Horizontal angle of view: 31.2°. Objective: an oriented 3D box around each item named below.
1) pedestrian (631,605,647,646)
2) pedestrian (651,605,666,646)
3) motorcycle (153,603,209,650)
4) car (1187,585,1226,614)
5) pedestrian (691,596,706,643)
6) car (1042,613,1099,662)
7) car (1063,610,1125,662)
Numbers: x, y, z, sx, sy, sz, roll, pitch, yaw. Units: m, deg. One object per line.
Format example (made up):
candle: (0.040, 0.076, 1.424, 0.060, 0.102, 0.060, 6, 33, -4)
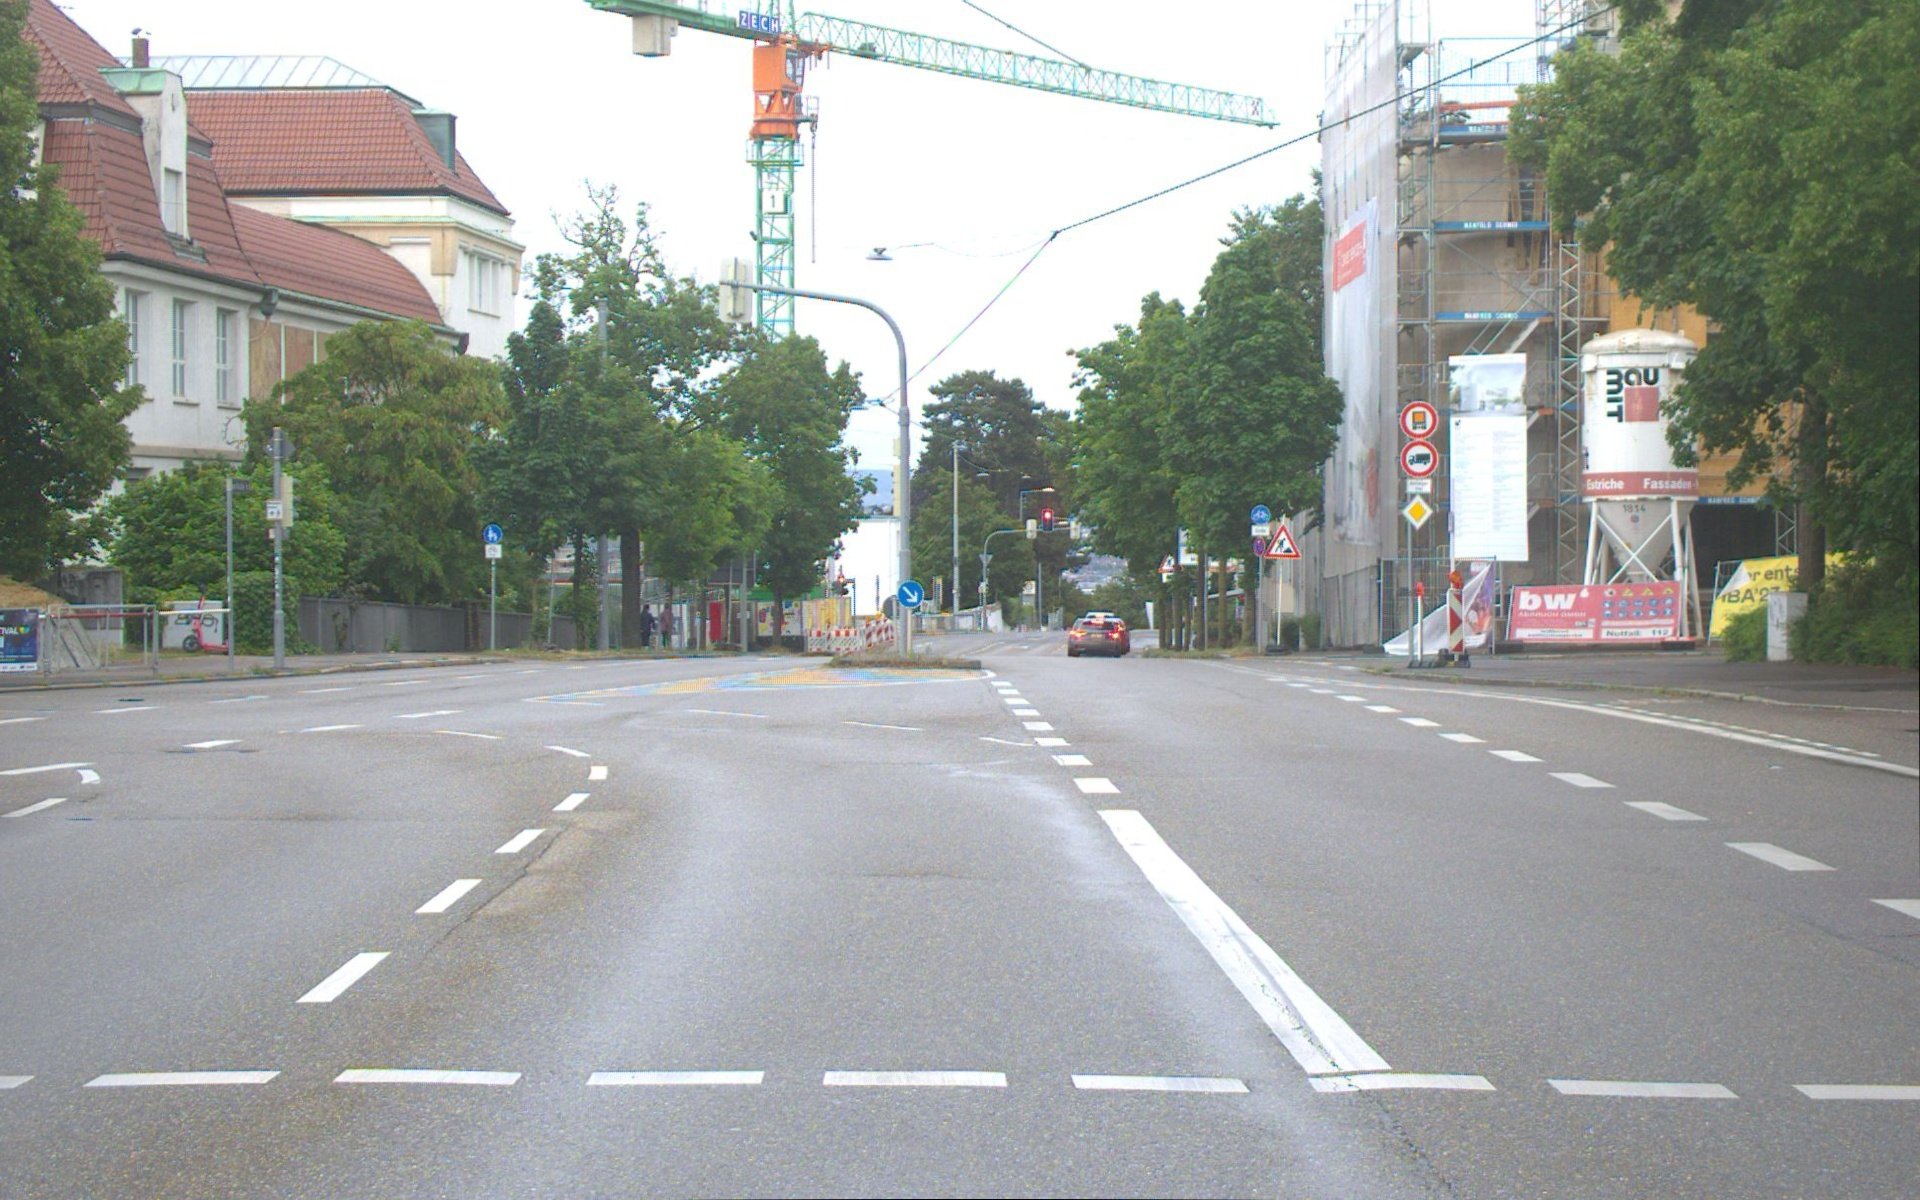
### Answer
pedestrian: (-10.905, 0.869, 116.832, 0.474, 1.391, 0.411, -1, 1, -1)
pedestrian: (-10.243, 0.859, 116.905, 0.474, 1.392, 0.411, 0, 1, -1)
motorcycle: (-14.698, 0.499, 64.895, 0.849, 0.874, 0.877, 1, 0, -1)
car: (15.750, -0.026, 219.318, 1.994, 1.744, 3.998, -1, 1, 11)
pedestrian: (-9.203, 0.674, 120.954, 0.493, 1.640, 0.534, 1, 0, -6)
car: (4.227, 1.436, 131.985, 1.993, 1.744, 4.000, -1, 1, -1)
car: (4.859, 1.287, 124.765, 1.993, 1.744, 4.000, -1, 1, -1)
